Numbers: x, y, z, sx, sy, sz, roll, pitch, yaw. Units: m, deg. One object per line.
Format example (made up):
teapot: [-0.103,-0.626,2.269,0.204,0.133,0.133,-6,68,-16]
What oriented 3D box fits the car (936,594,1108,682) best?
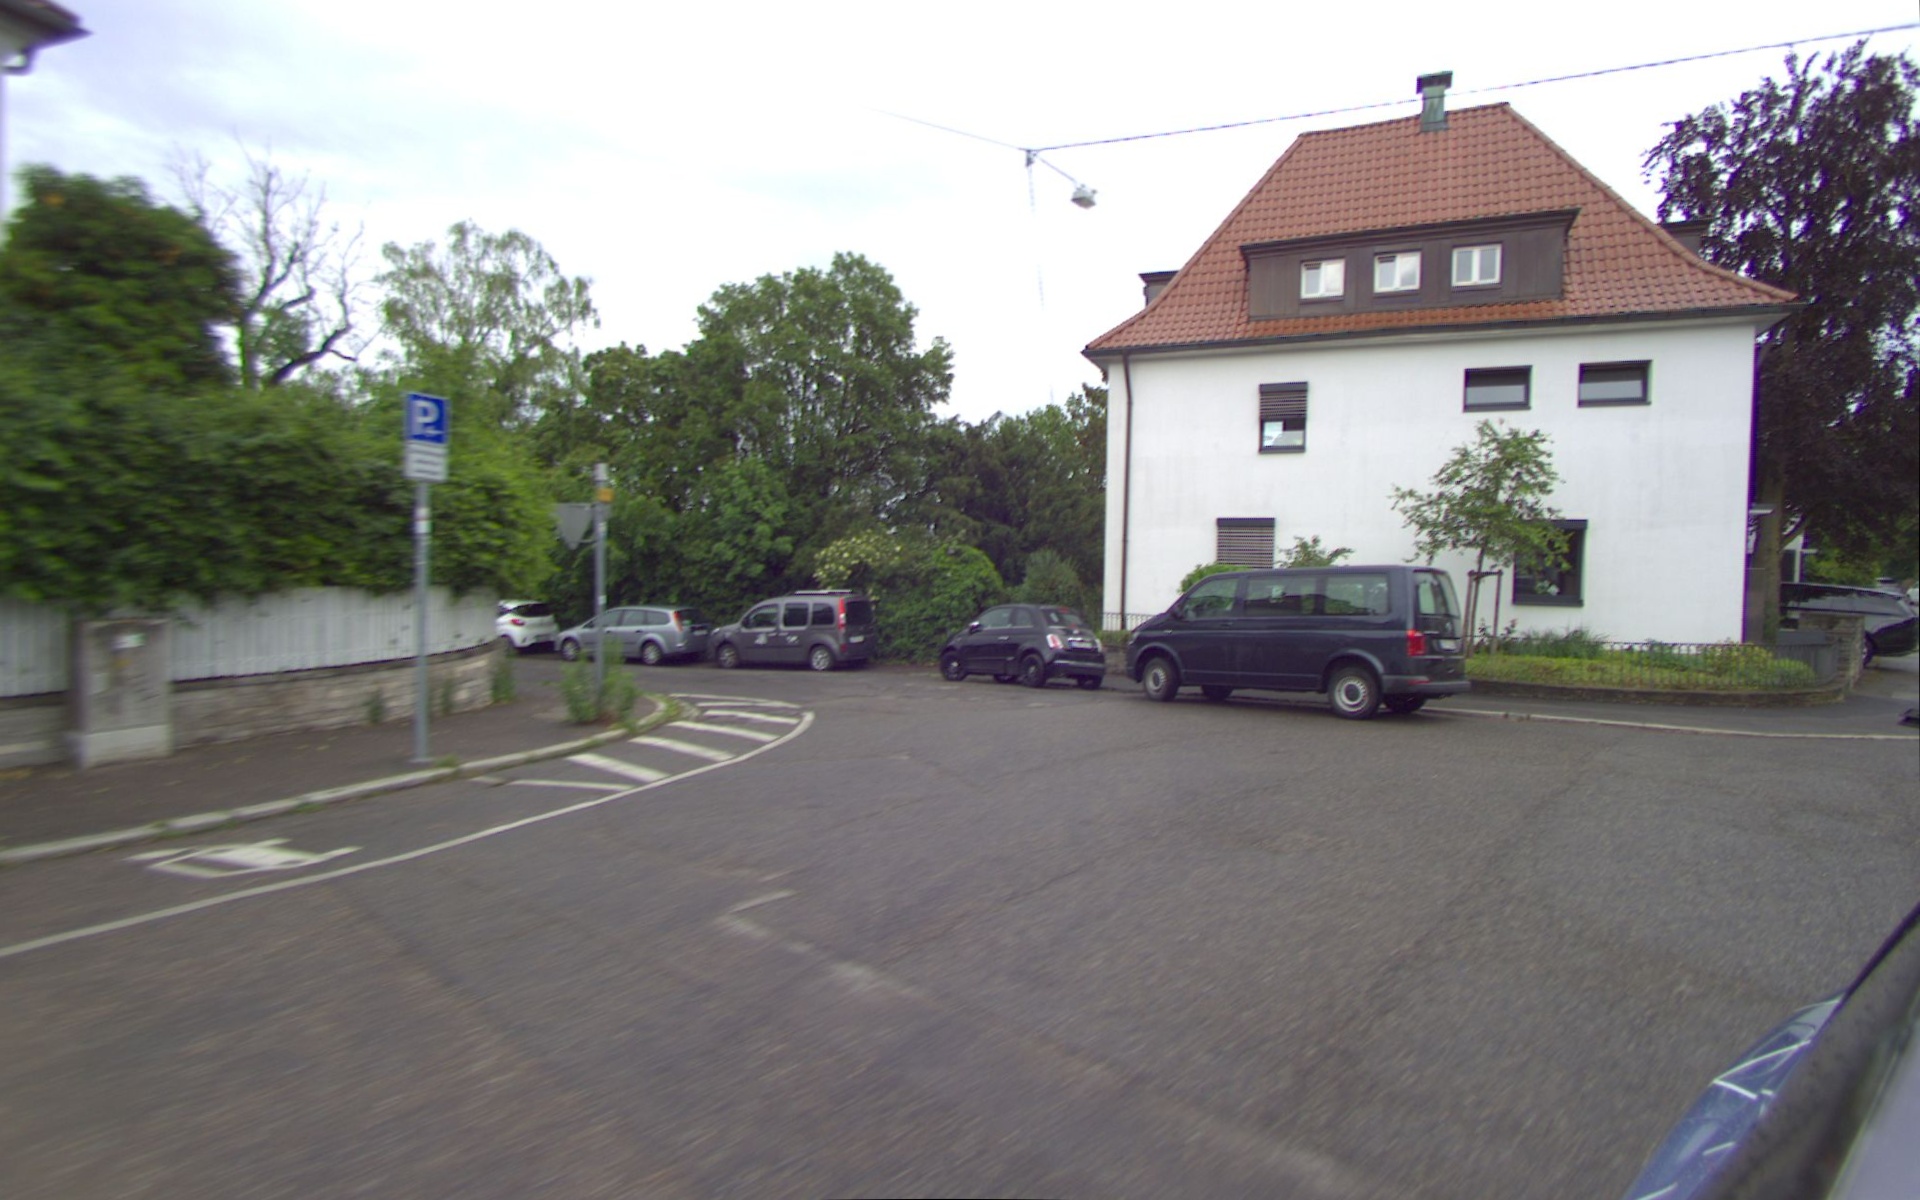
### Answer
car: [1.071,0.711,18.606,1.298,1.460,3.265,5,-5,-38]

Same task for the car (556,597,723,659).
car: [-8.348,0.682,26.395,3.952,1.482,1.759,0,1,21]

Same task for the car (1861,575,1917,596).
car: [64.056,-1.028,69.840,1.664,1.389,4.397,0,1,26]

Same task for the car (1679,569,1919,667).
car: [20.107,0.348,23.944,4.734,1.831,1.912,7,5,43]

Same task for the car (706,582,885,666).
car: [-3.955,0.511,24.325,3.955,1.883,1.758,0,1,24]

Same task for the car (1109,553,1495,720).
car: [4.698,0.336,14.509,4.910,1.971,1.910,3,3,45]

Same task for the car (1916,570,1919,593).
car: [59.529,-1.055,60.821,1.664,1.389,4.397,4,3,26]

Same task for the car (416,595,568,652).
car: [-13.307,0.617,28.795,3.955,1.481,1.758,0,1,23]
